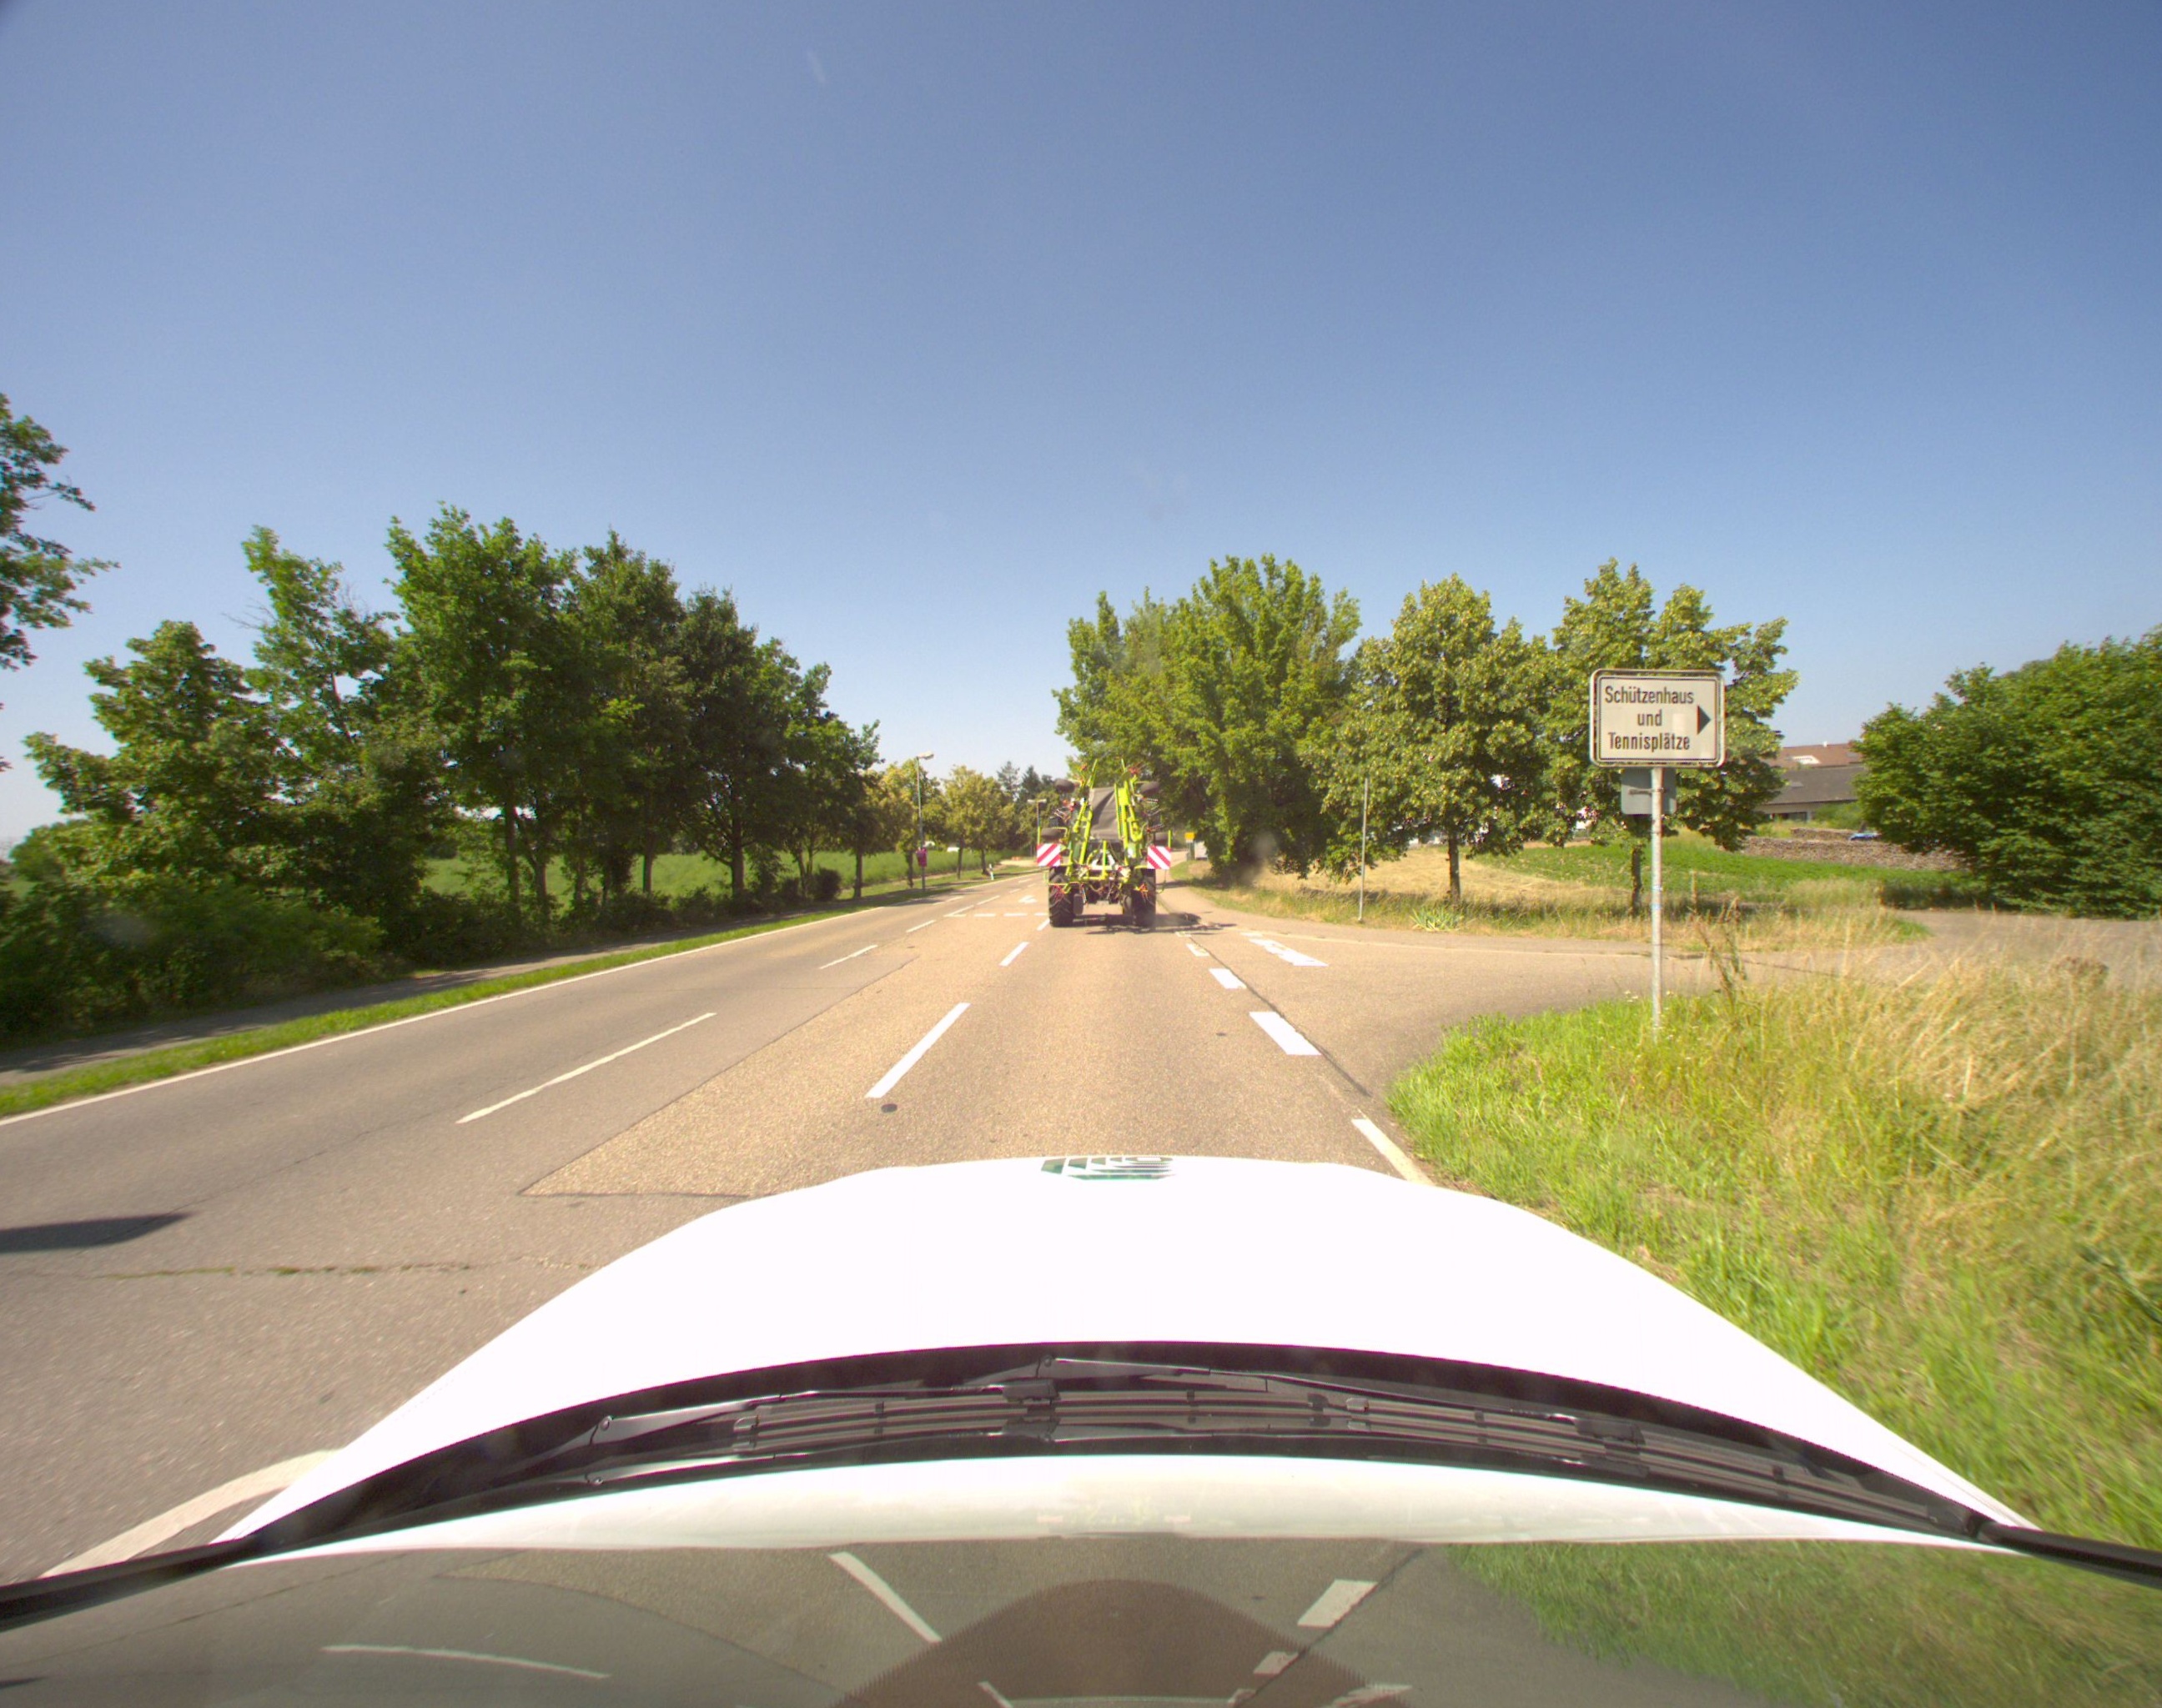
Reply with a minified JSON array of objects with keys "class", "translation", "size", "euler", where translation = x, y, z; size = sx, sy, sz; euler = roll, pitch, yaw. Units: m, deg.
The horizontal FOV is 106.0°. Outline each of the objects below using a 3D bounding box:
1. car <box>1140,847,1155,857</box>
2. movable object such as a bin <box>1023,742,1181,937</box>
[{"class":"car","translation":[9.906,-0.286,120.850],"size":[1.638,1.433,3.910],"euler":[1,1,12]},{"class":"movable object such as a bin","translation":[0.485,-0.266,19.889],"size":[2.843,3.541,9.702],"euler":[-1,0,1]}]
